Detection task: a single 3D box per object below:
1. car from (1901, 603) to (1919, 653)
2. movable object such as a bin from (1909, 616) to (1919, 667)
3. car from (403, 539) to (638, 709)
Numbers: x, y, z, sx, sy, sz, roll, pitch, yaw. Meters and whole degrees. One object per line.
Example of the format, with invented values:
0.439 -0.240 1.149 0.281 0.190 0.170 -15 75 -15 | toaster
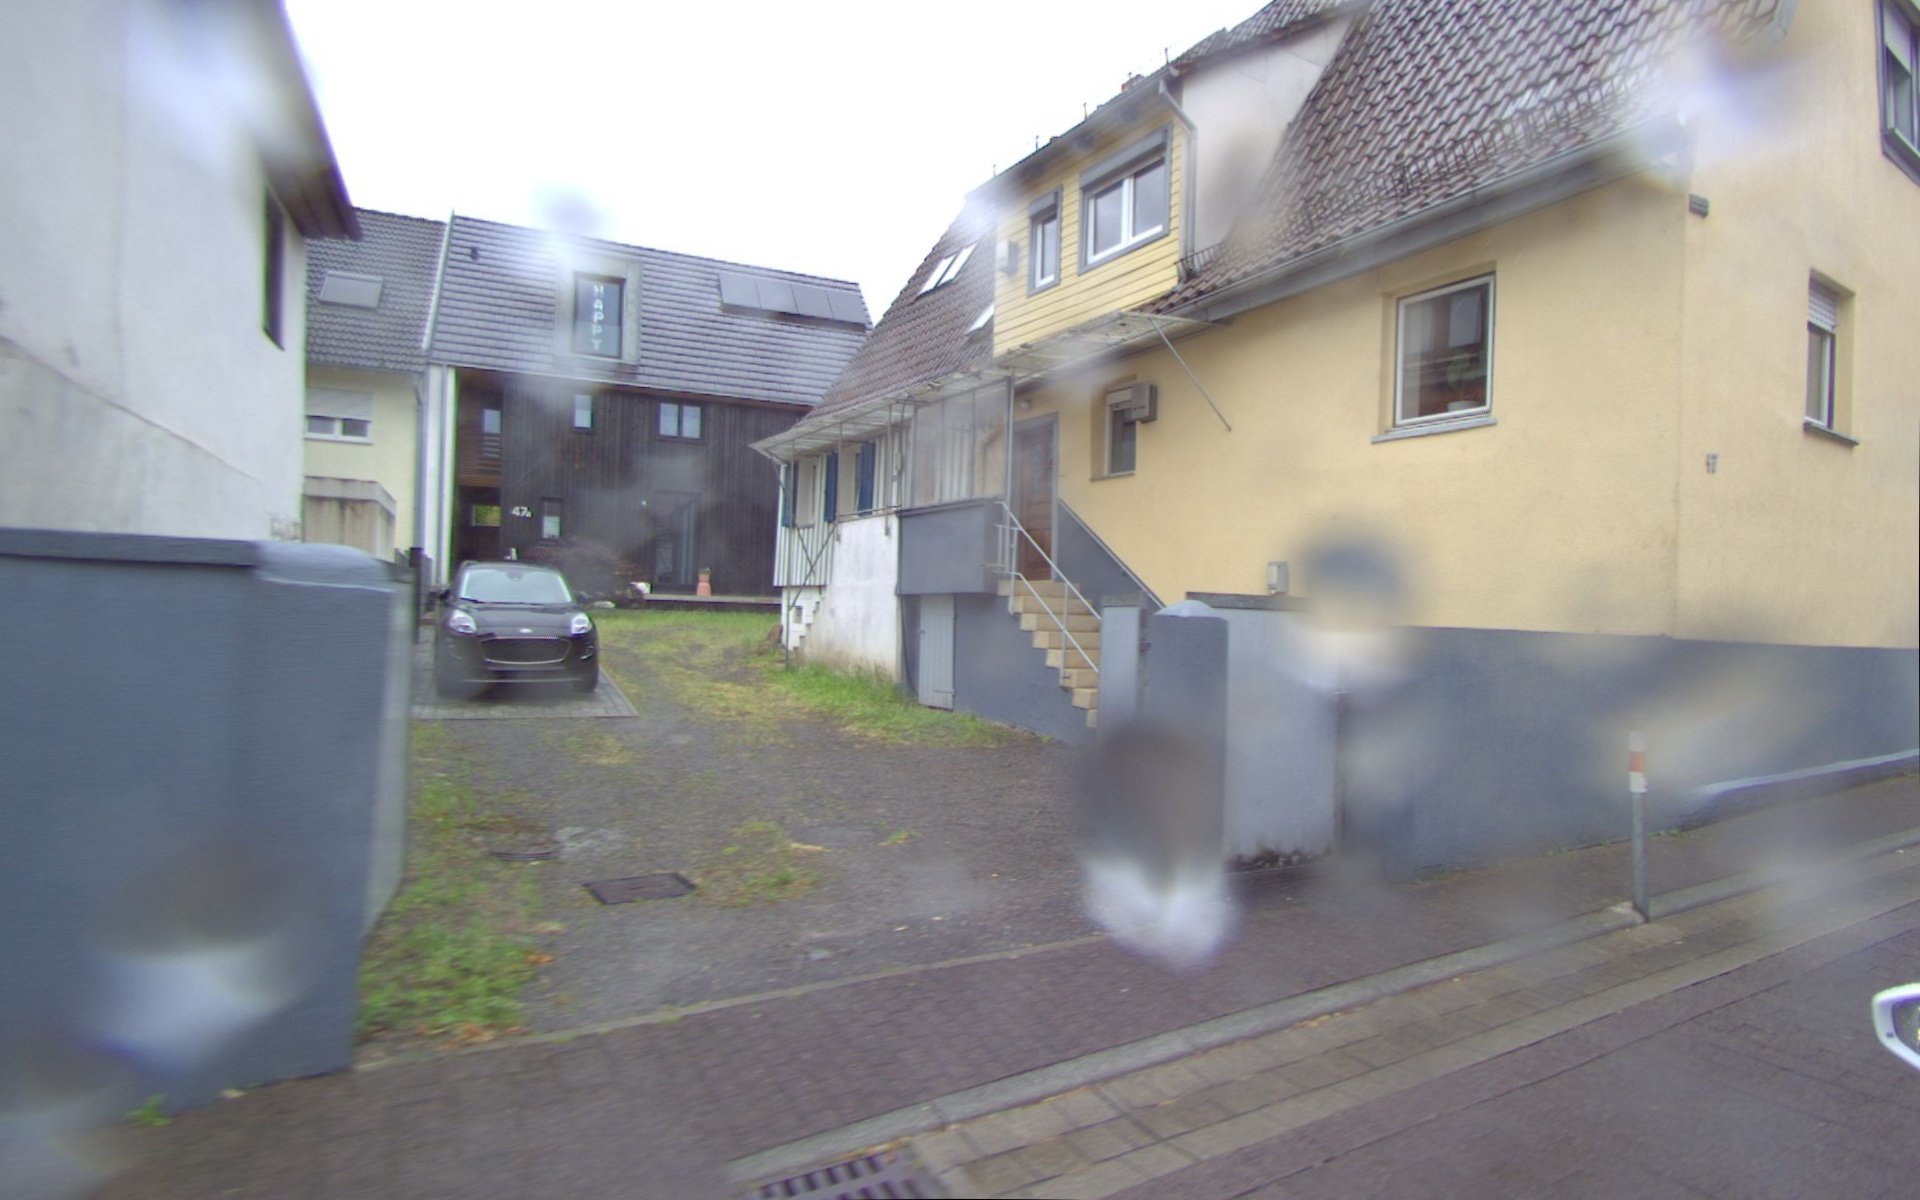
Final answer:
31.456 0.947 30.149 1.848 1.571 4.452 0 2 -9 | car
22.063 0.959 22.841 0.598 1.161 0.559 3 -1 -32 | movable object such as a bin
-5.852 0.180 13.057 2.015 1.743 4.171 1 3 -35 | car
